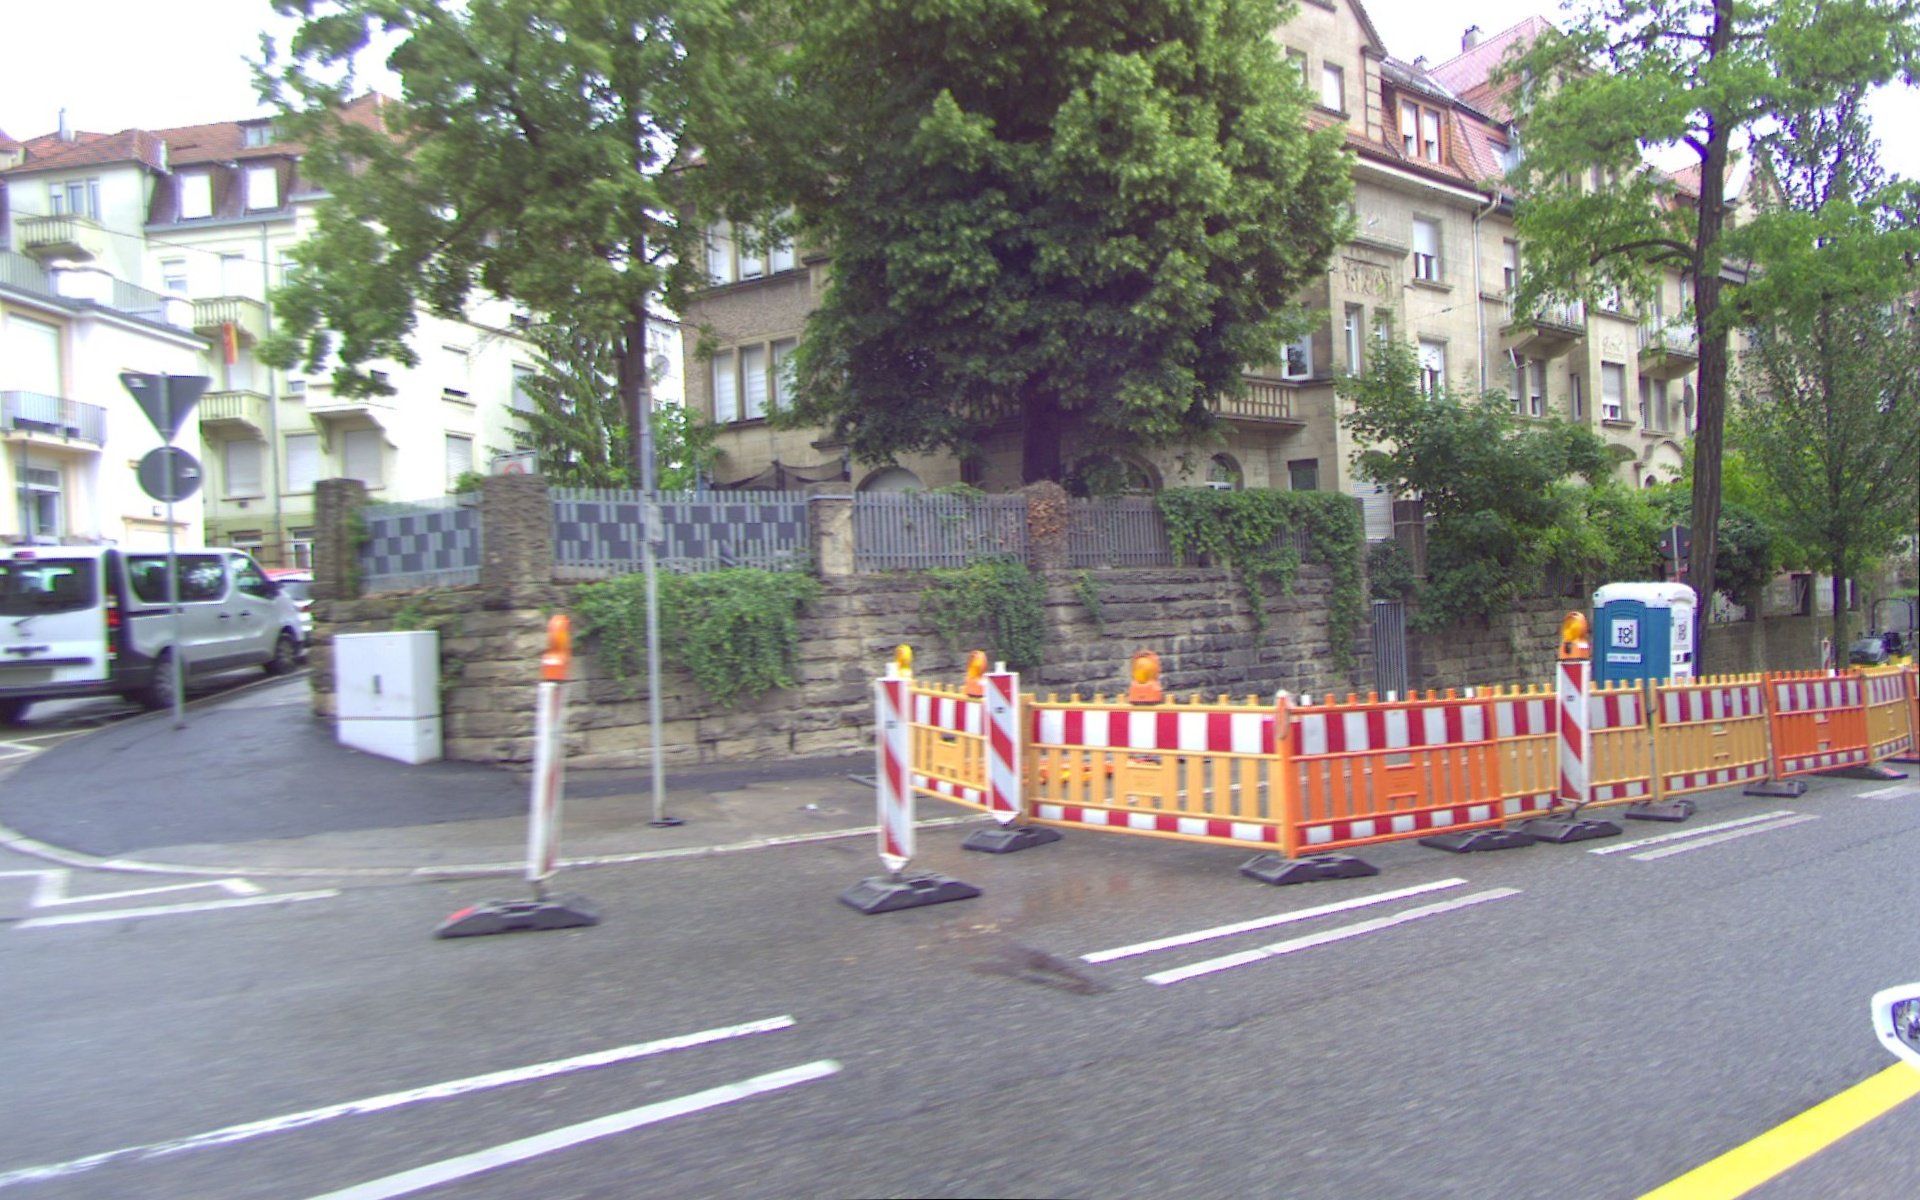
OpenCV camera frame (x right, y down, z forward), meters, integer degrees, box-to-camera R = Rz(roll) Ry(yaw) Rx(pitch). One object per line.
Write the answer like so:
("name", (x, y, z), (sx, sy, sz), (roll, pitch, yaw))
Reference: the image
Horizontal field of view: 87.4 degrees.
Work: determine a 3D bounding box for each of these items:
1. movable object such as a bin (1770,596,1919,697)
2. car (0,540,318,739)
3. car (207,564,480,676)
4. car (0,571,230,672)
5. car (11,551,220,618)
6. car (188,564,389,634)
("movable object such as a bin", (21.948, 1.127, 24.845), (2.780, 2.329, 1.986), (0, -2, -28))
("car", (-10.694, 0.301, 13.274), (1.989, 2.077, 4.667), (-1, 5, -10))
("car", (-11.123, 0.258, 18.611), (2.071, 1.535, 4.442), (-2, 5, 3))
("car", (-16.886, 0.341, 19.652), (1.881, 1.697, 4.160), (2, 1, 6))
("car", (-21.165, -0.388, 25.397), (1.740, 1.494, 3.837), (2, 1, 8))
("car", (-16.236, -0.049, 24.543), (1.881, 1.494, 3.837), (3, 1, 12))
